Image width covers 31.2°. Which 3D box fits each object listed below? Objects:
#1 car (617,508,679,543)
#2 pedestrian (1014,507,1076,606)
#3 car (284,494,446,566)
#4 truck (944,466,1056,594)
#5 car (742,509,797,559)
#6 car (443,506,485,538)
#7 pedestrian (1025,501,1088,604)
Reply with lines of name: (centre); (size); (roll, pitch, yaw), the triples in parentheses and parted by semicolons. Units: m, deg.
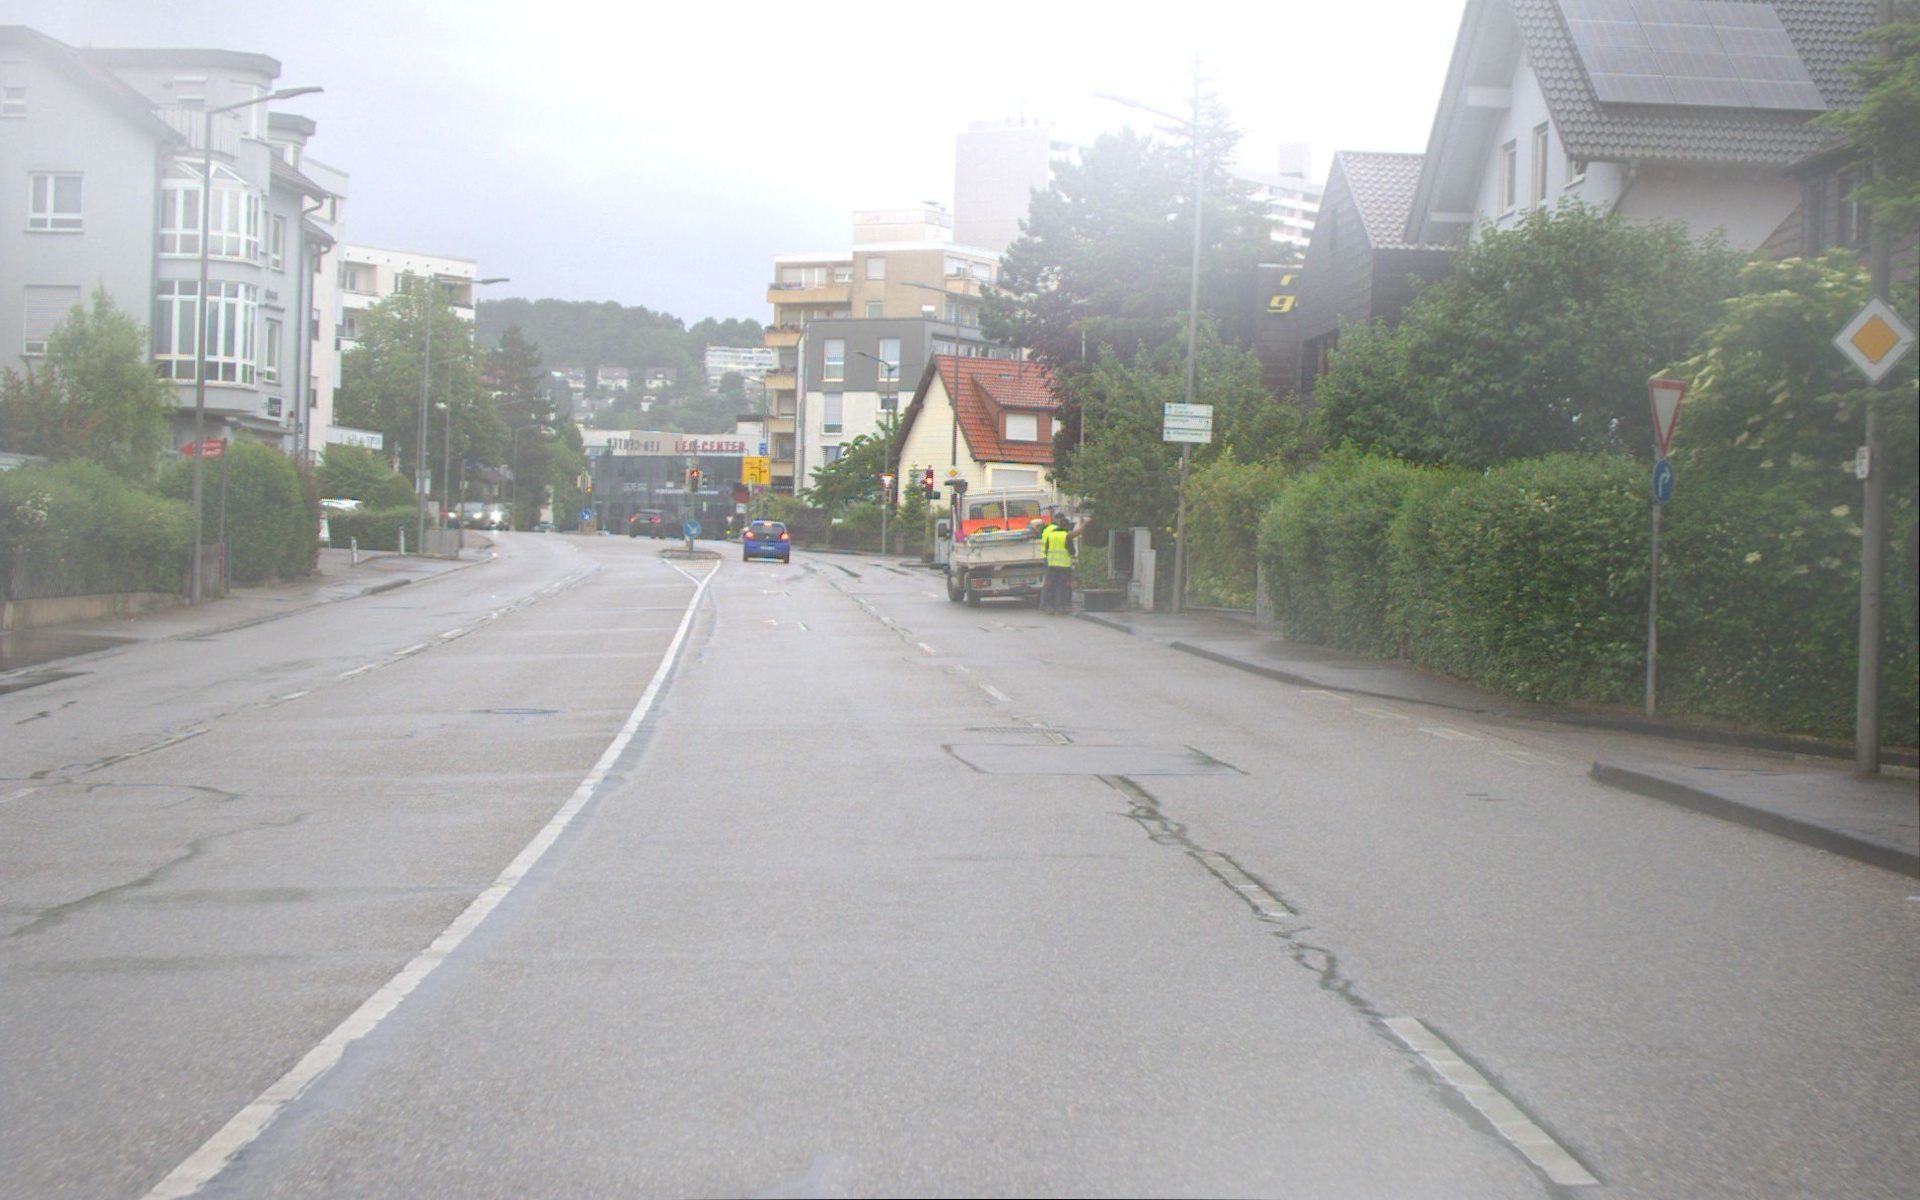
car: (-15.466, -3.684, 170.644); (1.580, 1.433, 3.996); (6, 0, 17)
pedestrian: (1.511, -0.779, 61.154); (0.822, 1.720, 0.841); (1, 1, -20)
car: (-18.809, -2.208, 108.733); (4.524, 2.007, 1.999); (3, 1, 11)
truck: (0.760, -1.324, 64.871); (1.993, 2.295, 4.000); (1, 1, 1)
car: (-6.653, -2.301, 120.343); (1.794, 1.664, 4.000); (1, 1, -1)
car: (-25.533, -4.002, 177.132); (1.659, 1.458, 4.000); (4, 0, -3)
pedestrian: (1.697, -0.835, 60.374); (0.822, 1.791, 0.800); (1, 1, -21)
